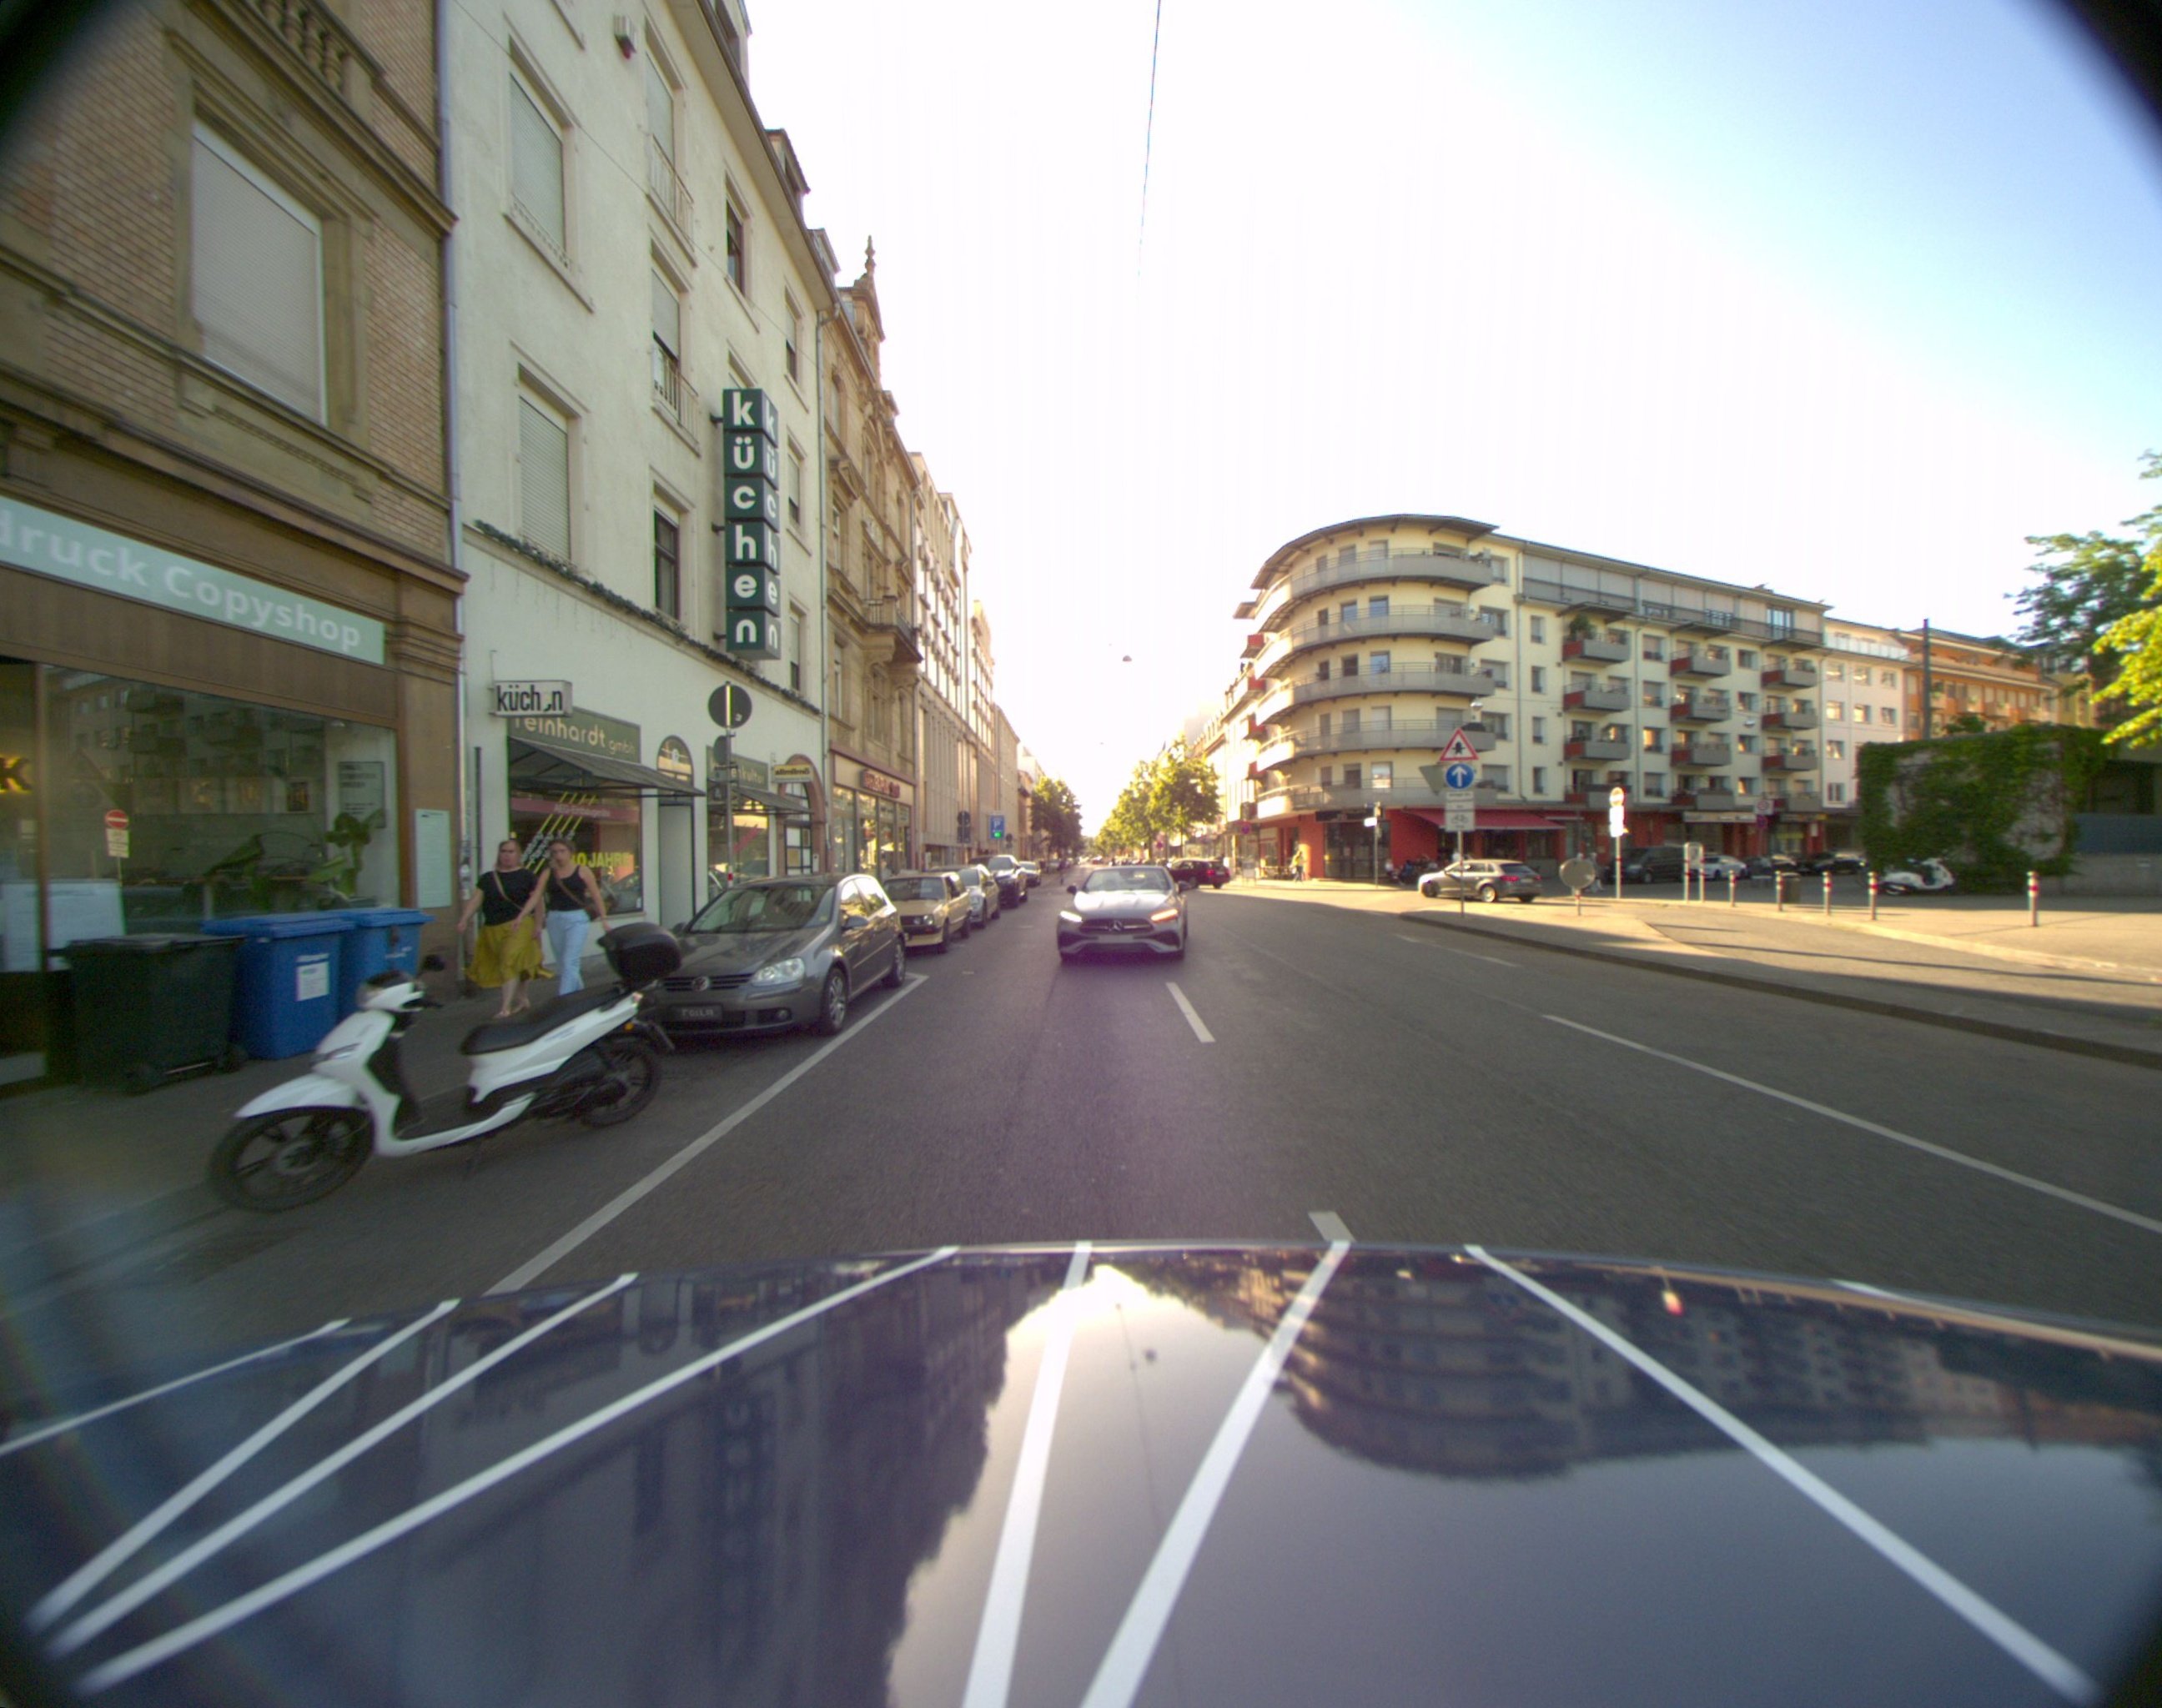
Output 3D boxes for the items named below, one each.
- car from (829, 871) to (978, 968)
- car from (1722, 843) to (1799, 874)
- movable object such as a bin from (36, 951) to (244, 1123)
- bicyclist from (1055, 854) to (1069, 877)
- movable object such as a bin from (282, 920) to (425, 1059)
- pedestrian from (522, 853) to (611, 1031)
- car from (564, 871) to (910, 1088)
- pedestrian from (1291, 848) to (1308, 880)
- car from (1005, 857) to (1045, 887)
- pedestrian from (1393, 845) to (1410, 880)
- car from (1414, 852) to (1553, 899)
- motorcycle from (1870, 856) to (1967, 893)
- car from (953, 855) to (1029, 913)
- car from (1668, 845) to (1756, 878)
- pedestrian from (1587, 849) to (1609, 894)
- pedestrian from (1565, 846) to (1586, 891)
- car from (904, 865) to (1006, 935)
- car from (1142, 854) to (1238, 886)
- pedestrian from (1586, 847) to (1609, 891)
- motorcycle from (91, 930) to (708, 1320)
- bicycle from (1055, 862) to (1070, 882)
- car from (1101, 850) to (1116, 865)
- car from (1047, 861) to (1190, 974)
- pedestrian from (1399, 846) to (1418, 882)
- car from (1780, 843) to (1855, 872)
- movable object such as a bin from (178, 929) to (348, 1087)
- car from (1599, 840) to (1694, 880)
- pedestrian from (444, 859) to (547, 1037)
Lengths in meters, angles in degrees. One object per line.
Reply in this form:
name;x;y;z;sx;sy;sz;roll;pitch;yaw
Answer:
car;-3.075;1.081;13.946;1.737;1.408;3.802;-2;0;1
car;39.679;0.248;44.363;3.939;1.611;1.788;-2;0;-23
movable object such as a bin;-6.212;1.181;5.050;0.606;0.986;0.619;1;0;1
bicyclist;-1.178;0.721;47.990;0.798;1.426;1.008;-2;0;2
movable object such as a bin;-6.176;1.128;6.477;0.606;1.067;0.619;1;0;1
pedestrian;-4.872;0.810;7.213;0.515;1.623;0.414;-2;1;-8
car;-3.110;1.012;7.931;1.737;1.509;4.165;-2;0;-1
pedestrian;11.134;0.510;38.665;0.570;1.612;0.793;-2;0;-2
car;-3.243;1.020;44.652;1.895;1.595;4.049;-2;0;1
pedestrian;15.674;0.419;37.157;0.575;1.698;0.642;-2;0;4
car;13.504;0.695;25.739;1.809;1.388;3.920;-2;0;-21
motorcycle;26.342;0.655;23.925;1.927;1.096;0.682;-2;0;24
car;-2.874;0.921;25.127;1.895;1.680;4.049;-2;0;1
car;34.619;0.398;41.698;4.300;1.611;1.952;-2;0;-23
pedestrian;20.835;0.688;30.600;0.602;1.782;0.581;-3;1;-44
pedestrian;20.073;0.570;30.839;0.602;1.782;0.581;-3;1;-44
car;-2.945;1.030;18.496;1.737;1.408;3.802;-2;0;1
car;5.183;0.776;36.469;1.900;1.388;4.244;-2;0;-44
pedestrian;21.211;0.607;31.187;0.602;1.782;0.581;-3;1;-39
motorcycle;-3.273;1.157;3.986;2.178;1.272;0.866;-2;0;-41
bicycle;-1.164;1.136;48.025;0.798;1.225;1.774;-2;0;2
car;3.805;0.490;105.551;1.998;2.002;4.000;-2;0;1
car;0.806;0.890;12.482;1.846;1.440;4.376;-2;0;9
pedestrian;15.708;0.462;36.456;0.575;1.698;0.642;-2;0;4
car;44.854;0.216;46.255;3.939;1.611;1.788;-2;0;-21
movable object such as a bin;-6.195;1.139;5.786;0.606;1.067;0.619;1;0;1
car;29.395;0.281;39.485;4.431;1.901;1.952;-2;0;-23
pedestrian;-5.538;0.863;7.215;0.618;1.623;0.462;0;0;-9
